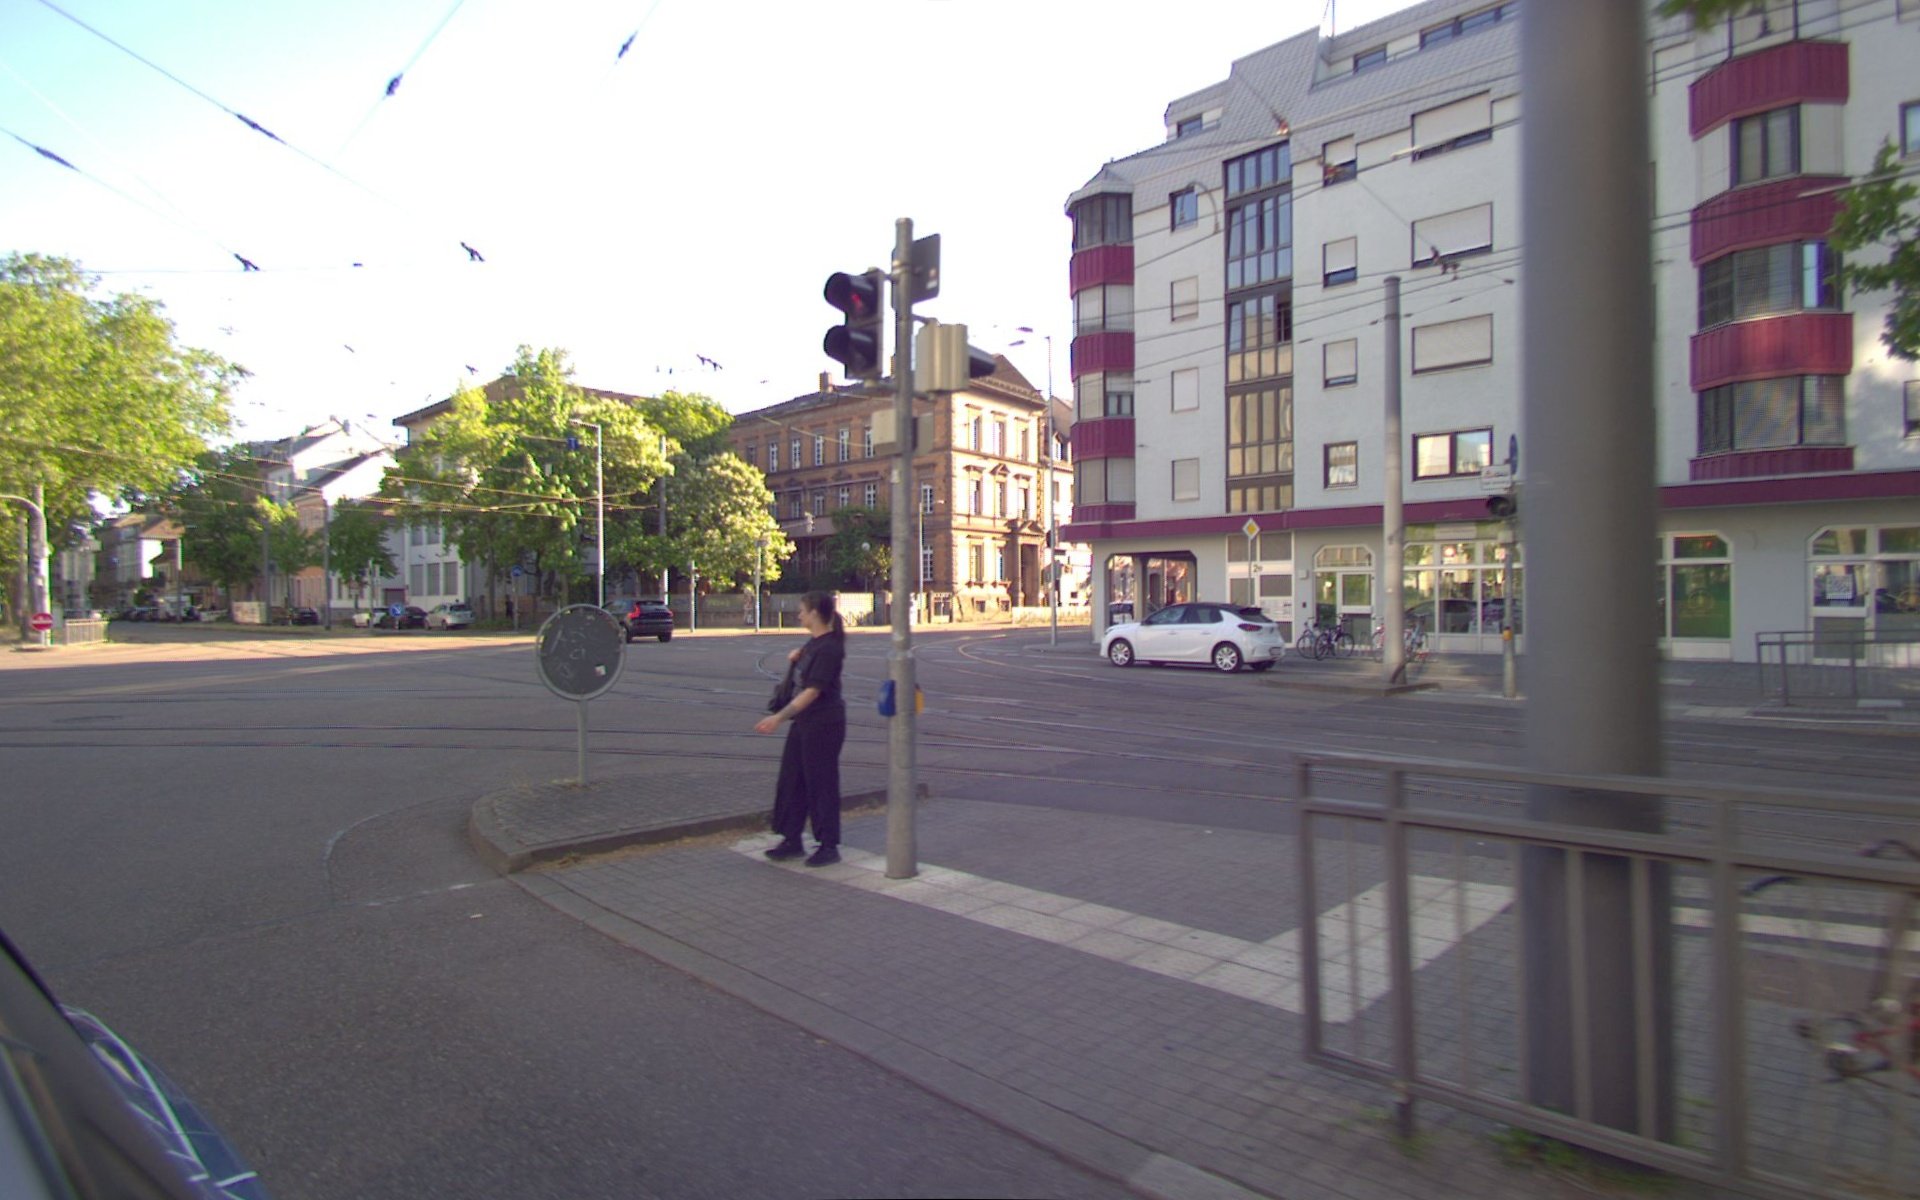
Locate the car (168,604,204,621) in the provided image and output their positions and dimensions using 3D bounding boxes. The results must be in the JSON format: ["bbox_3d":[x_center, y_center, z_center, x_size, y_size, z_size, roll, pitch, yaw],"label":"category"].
[{"bbox_3d":[-82.599,1.373,108.009,4.530,1.686,2.061,-1,2,41],"label":"car"}]

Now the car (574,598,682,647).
[{"bbox_3d":[-12.269,0.792,37.256,4.259,1.685,1.934,-1,0,42],"label":"car"}]

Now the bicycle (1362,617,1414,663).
[{"bbox_3d":[9.832,0.902,23.241,0.553,0.992,1.824,-1,0,41],"label":"bicycle"}]

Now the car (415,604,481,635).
[{"bbox_3d":[-30.337,1.129,59.928,4.096,1.631,2.061,-1,2,41],"label":"car"}]

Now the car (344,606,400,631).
[{"bbox_3d":[-39.860,1.239,68.560,3.995,1.501,2.061,-1,2,41],"label":"car"}]

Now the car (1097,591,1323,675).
[{"bbox_3d":[5.228,0.653,21.487,4.261,1.607,1.933,-1,0,43],"label":"car"}]

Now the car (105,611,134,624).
[{"bbox_3d":[-109.499,2.294,131.834,5.102,1.551,2.061,-1,2,41],"label":"car"}]

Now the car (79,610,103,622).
[{"bbox_3d":[-127.713,2.375,148.707,4.253,1.551,2.061,-1,2,41],"label":"car"}]

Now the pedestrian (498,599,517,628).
[{"bbox_3d":[-28.236,0.829,63.159,1.019,1.765,0.726,-1,-1,41],"label":"pedestrian"}]

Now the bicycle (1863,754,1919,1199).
[{"bbox_3d":[2.472,0.801,1.692,0.390,0.956,1.353,0,-3,-41],"label":"bicycle"}]

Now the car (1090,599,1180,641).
[{"bbox_3d":[6.953,0.749,39.914,1.996,1.567,3.952,-1,0,35],"label":"car"}]

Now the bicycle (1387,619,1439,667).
[{"bbox_3d":[10.189,0.949,22.733,0.553,0.992,1.824,-1,0,41],"label":"bicycle"}]

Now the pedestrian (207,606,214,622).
[{"bbox_3d":[-84.167,1.575,113.607,0.705,1.823,0.553,-1,-1,45],"label":"pedestrian"}]

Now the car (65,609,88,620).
[{"bbox_3d":[-135.626,2.201,155.333,4.007,1.551,2.061,-1,2,41],"label":"car"}]

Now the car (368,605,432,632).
[{"bbox_3d":[-35.579,1.172,64.236,4.455,1.513,2.061,-1,2,41],"label":"car"}]

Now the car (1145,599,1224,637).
[{"bbox_3d":[9.887,0.765,44.405,1.996,1.567,4.074,-1,0,35],"label":"car"}]

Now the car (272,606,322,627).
[{"bbox_3d":[-52.294,1.293,79.755,4.577,1.481,2.061,-1,2,41],"label":"car"}]

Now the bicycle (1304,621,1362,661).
[{"bbox_3d":[8.898,0.962,24.106,1.821,0.860,0.554,0,0,-44],"label":"bicycle"}]

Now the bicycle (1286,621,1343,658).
[{"bbox_3d":[8.785,0.960,25.041,1.821,0.860,0.554,0,0,-44],"label":"bicycle"}]

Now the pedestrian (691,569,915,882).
[{"bbox_3d":[-0.874,0.623,5.604,1.031,1.556,0.696,0,-1,-31],"label":"pedestrian"}]

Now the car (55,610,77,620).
[{"bbox_3d":[-146.667,2.496,166.005,4.118,1.551,2.061,-1,2,41],"label":"car"}]

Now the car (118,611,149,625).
[{"bbox_3d":[-100.176,2.207,122.614,4.514,1.551,2.061,-1,2,41],"label":"car"}]
